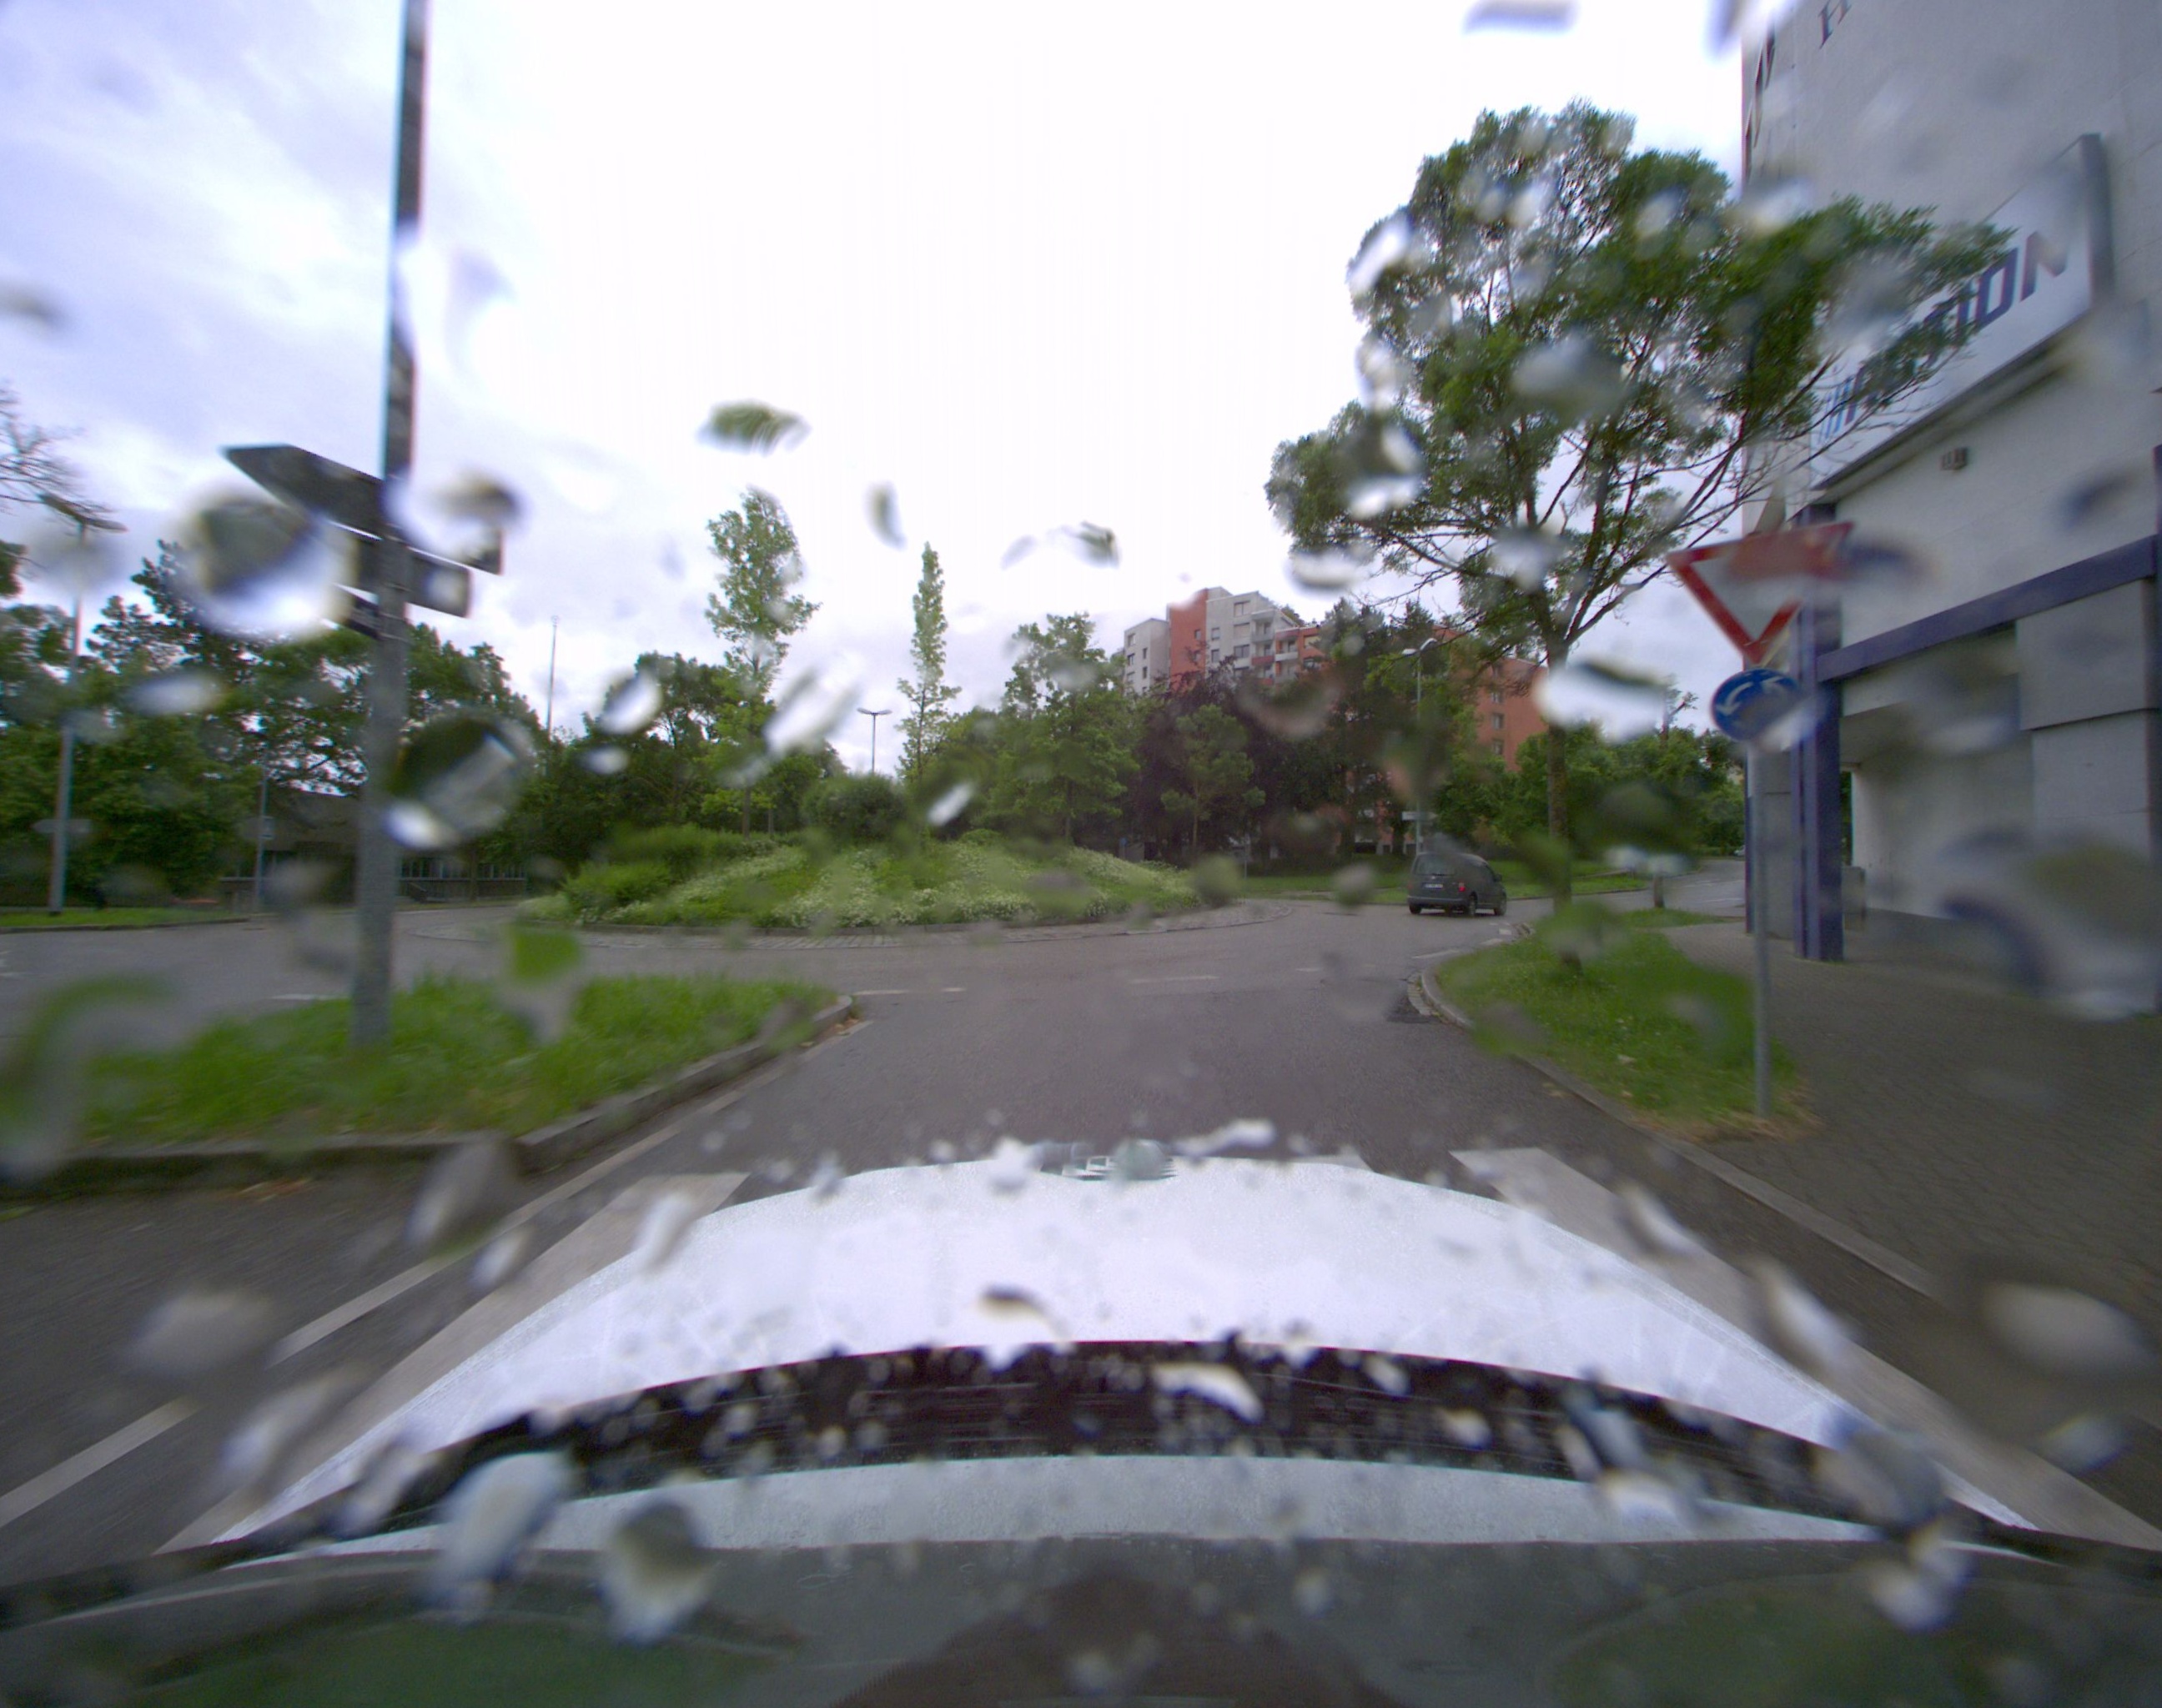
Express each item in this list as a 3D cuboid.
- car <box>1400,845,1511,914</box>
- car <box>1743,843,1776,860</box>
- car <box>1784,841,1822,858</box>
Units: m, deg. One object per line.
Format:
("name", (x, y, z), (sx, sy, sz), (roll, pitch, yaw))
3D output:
("car", (11.187, 0.760, 24.221), (1.900, 1.801, 3.812), (3, 0, 41))
("car", (82.768, -0.292, 99.398), (1.977, 1.873, 4.020), (0, -1, 21))
("car", (80.690, -0.483, 91.046), (1.831, 1.873, 3.880), (0, -1, 19))
